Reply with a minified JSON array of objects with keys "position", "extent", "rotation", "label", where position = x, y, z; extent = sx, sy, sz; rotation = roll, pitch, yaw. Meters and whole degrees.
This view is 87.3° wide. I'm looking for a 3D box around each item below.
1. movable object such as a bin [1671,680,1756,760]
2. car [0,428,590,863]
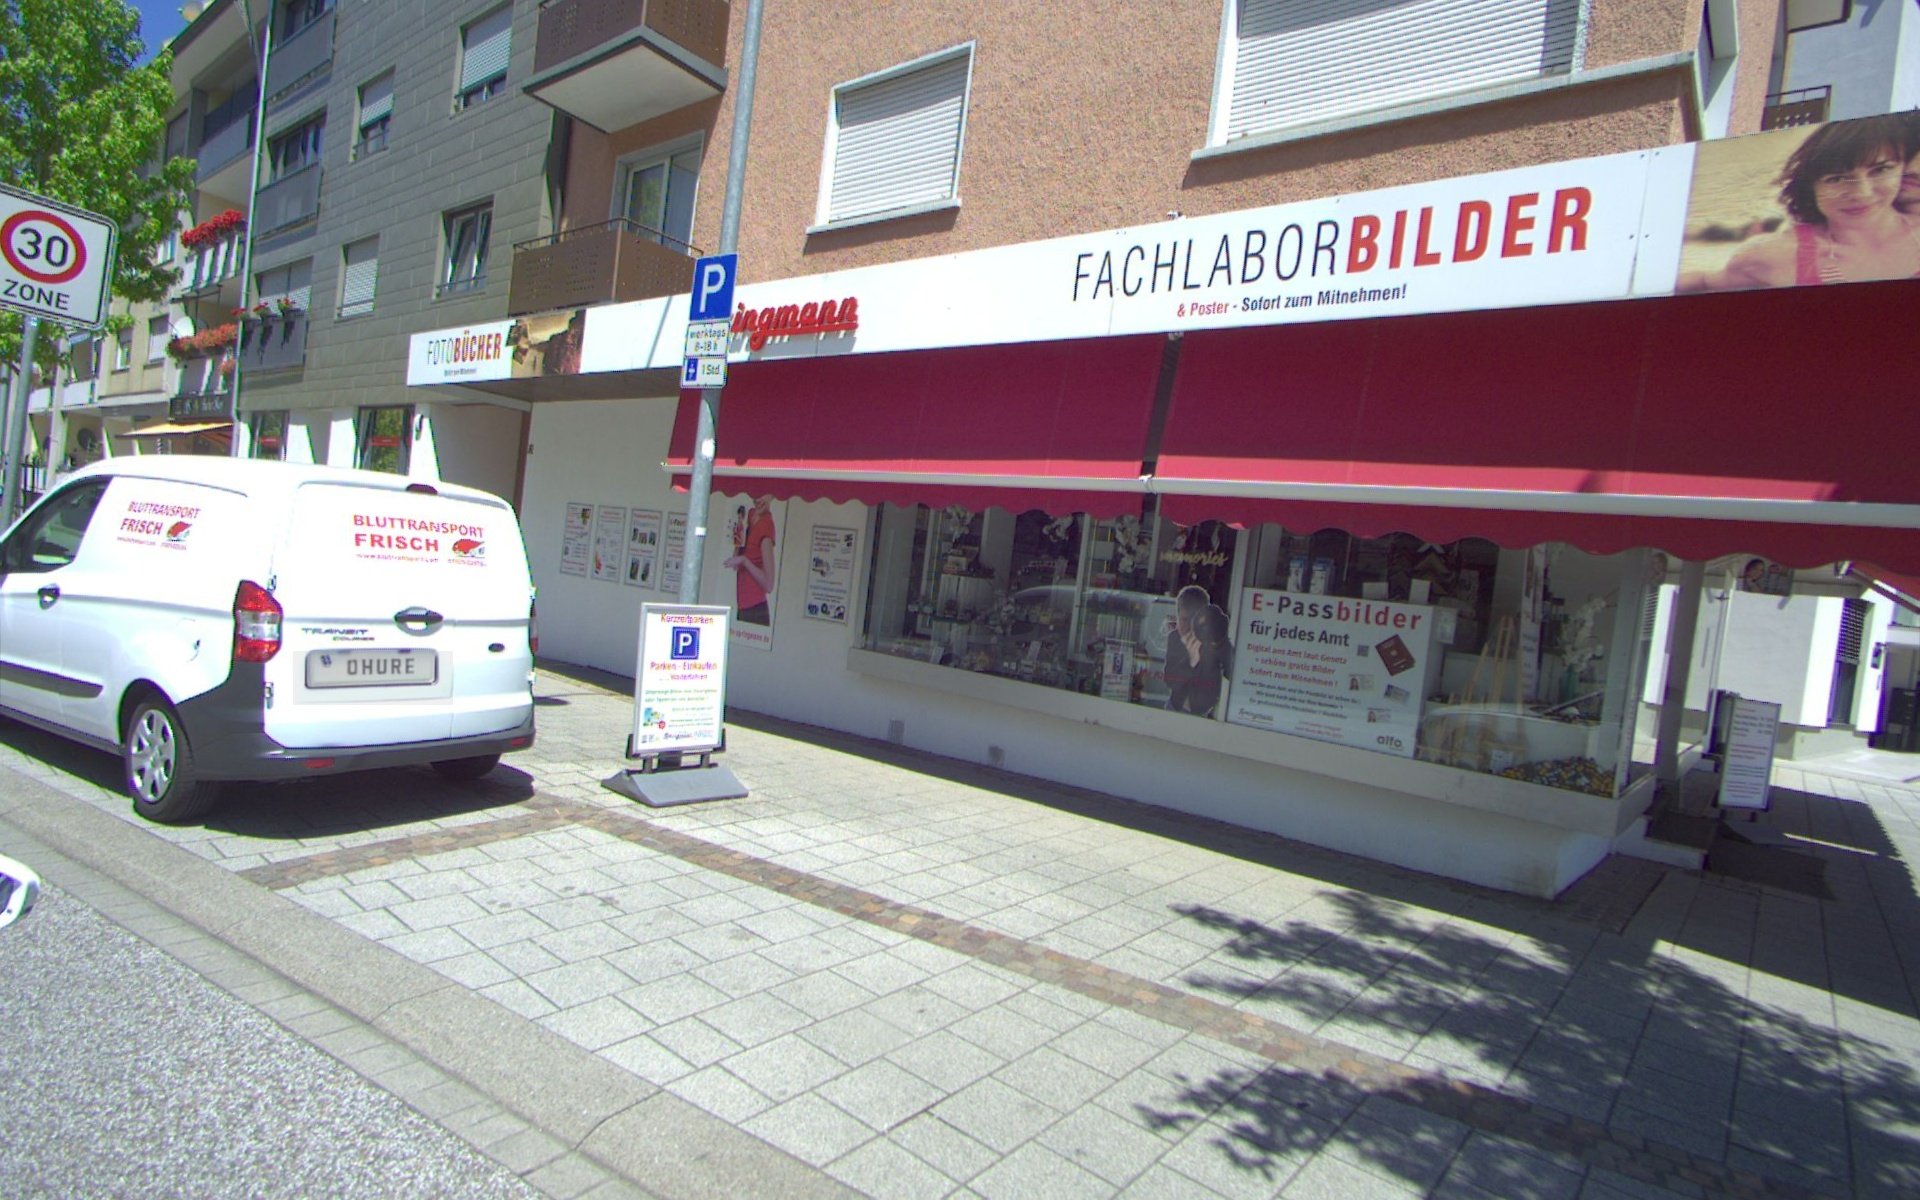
[{"position":[12.485,1.982,16.675],"extent":[0.753,1.171,0.766],"rotation":[5,5,-33],"label":"movable object such as a bin"},{"position":[-4.228,0.038,5.859],"extent":[3.843,1.747,1.748],"rotation":[7,3,30],"label":"car"}]
